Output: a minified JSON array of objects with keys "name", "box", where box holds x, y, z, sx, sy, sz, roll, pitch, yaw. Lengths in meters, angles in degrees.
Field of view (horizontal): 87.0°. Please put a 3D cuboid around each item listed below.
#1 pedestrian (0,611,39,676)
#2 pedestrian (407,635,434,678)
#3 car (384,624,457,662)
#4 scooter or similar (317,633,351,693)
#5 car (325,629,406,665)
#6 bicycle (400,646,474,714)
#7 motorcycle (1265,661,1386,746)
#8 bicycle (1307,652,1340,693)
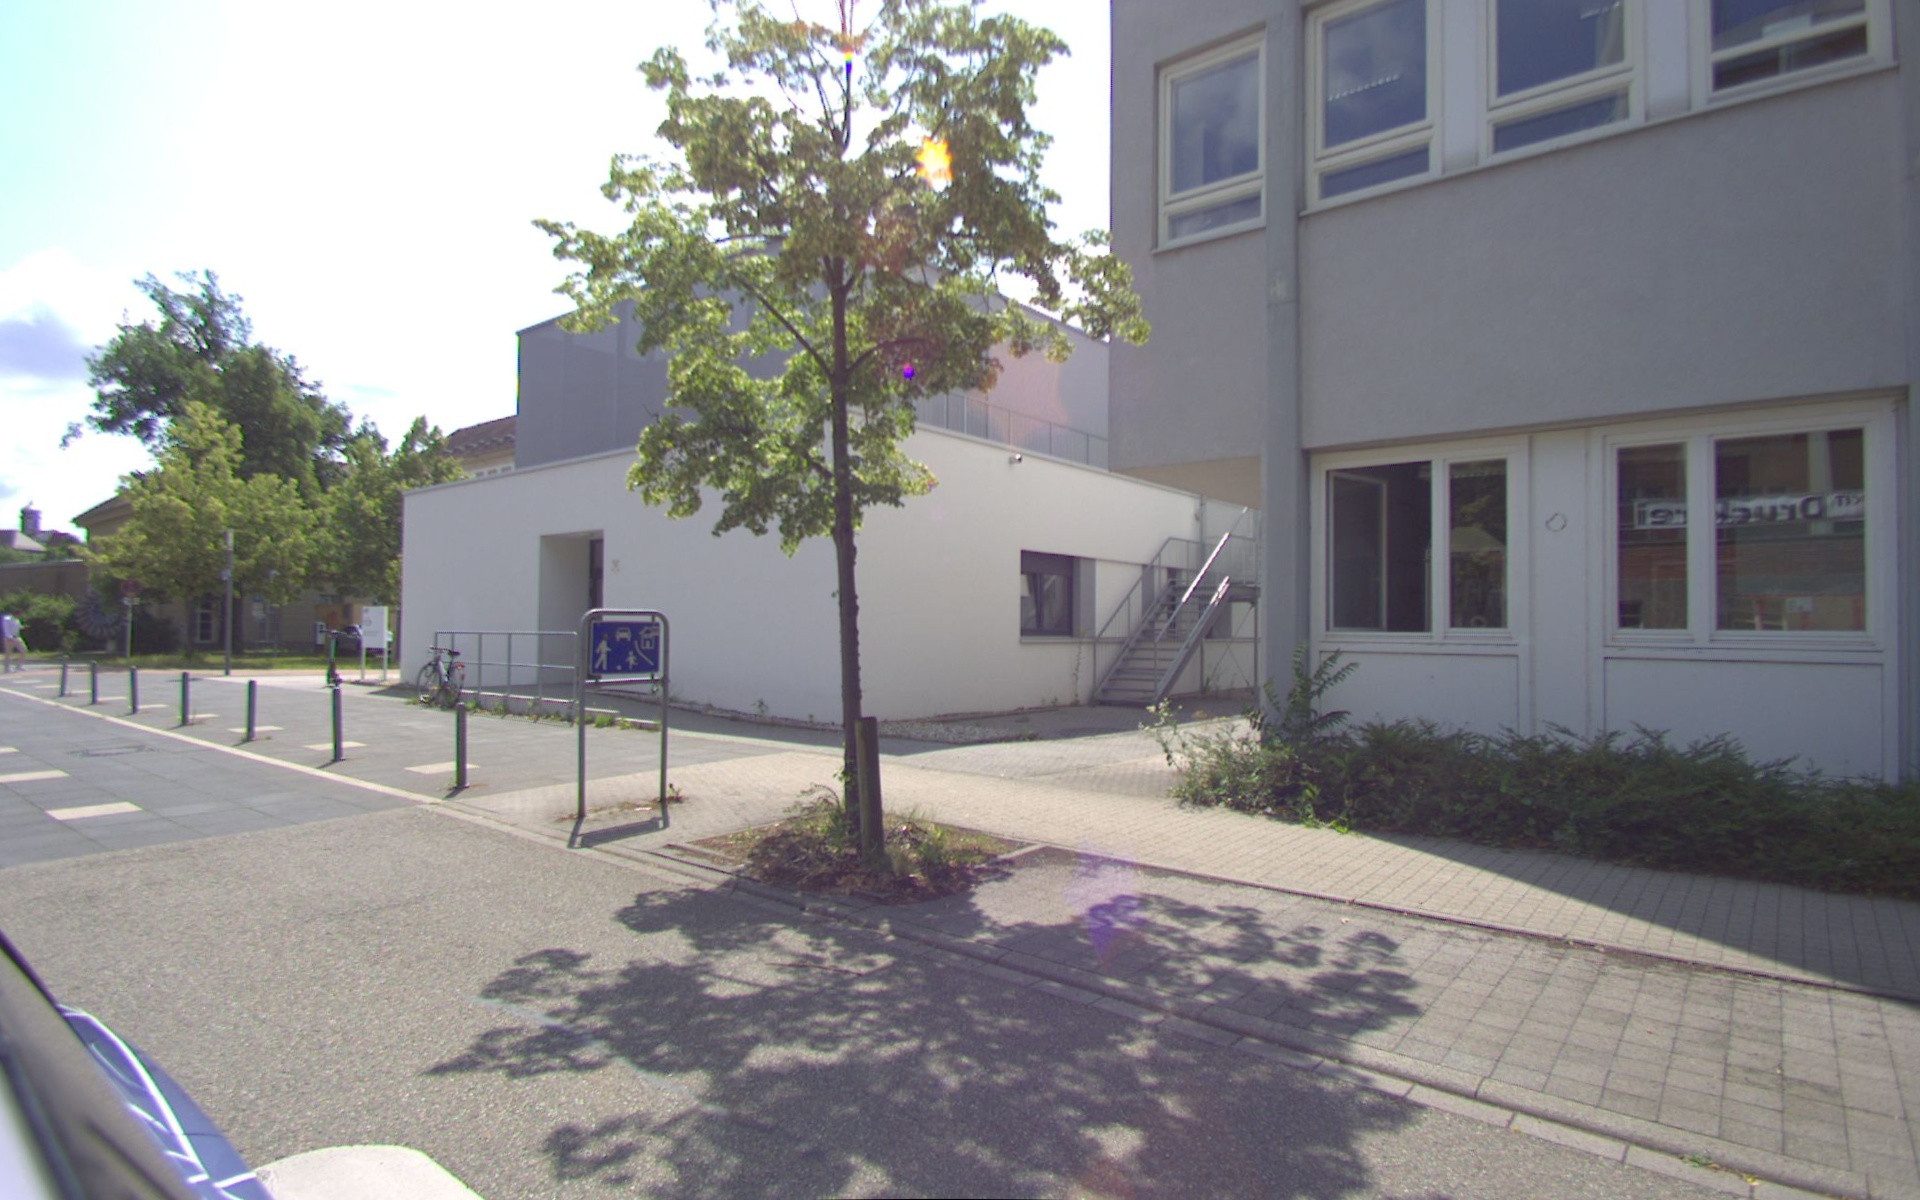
[{"name":"pedestrian","box":[-27.781,1.259,29.502,1.007,1.862,0.919,3,-4,-20]},{"name":"pedestrian","box":[-23.216,2.439,43.562,0.858,1.800,0.638,2,1,-18]},{"name":"car","box":[-27.488,2.176,51.518,4.120,1.799,1.789,0,-2,39]},{"name":"scooter or similar","box":[-13.830,1.372,22.354,0.476,1.273,1.316,2,-3,-38]},{"name":"car","box":[-29.230,2.285,49.687,4.644,1.593,1.875,0,-2,39]},{"name":"bicycle","box":[-8.942,1.340,17.285,1.900,1.069,0.537,-2,-3,44]},{"name":"motorcycle","box":[5.107,1.390,14.050,0.881,1.050,2.153,-2,-3,40]},{"name":"bicycle","box":[8.968,1.770,24.978,0.444,0.981,0.968,-2,-3,42]}]
